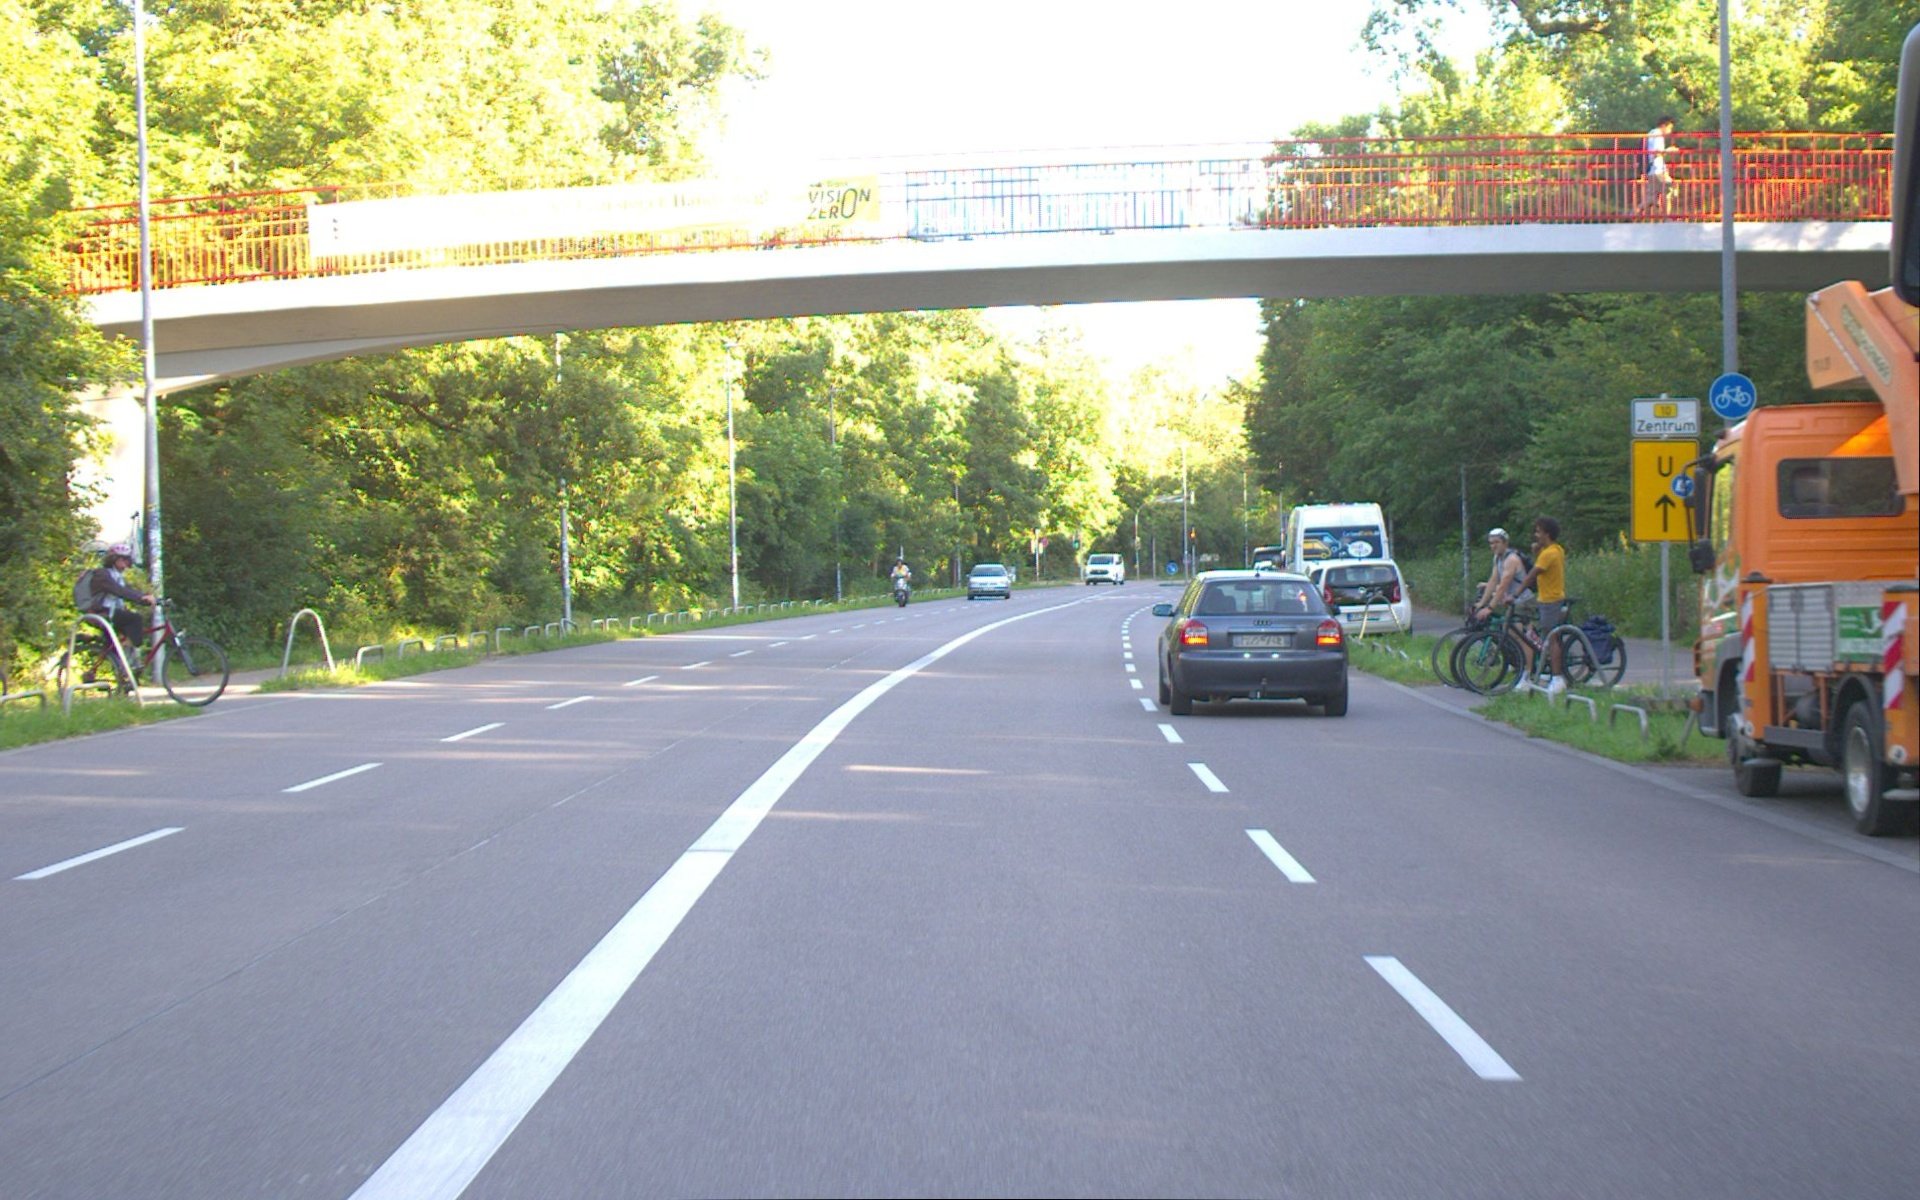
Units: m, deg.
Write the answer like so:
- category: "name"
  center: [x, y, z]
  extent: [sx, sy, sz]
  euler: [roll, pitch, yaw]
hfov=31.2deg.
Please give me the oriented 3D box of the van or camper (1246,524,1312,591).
- category: "van or camper"
  center: [9.843, -1.328, 106.113]
  extent: [1.893, 1.942, 5.133]
  euler: [-3, 1, 5]

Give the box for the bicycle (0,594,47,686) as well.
- category: "bicycle"
  center: [-10.633, 0.413, 35.937]
  extent: [1.927, 0.931, 0.824]
  euler: [0, 1, 11]

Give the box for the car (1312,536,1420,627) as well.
- category: "car"
  center: [6.890, -0.333, 58.583]
  extent: [1.723, 1.491, 3.774]
  euler: [0, 1, 5]

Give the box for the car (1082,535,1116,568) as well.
- category: "car"
  center: [8.851, -3.078, 218.308]
  extent: [1.994, 1.985, 4.997]
  euler: [1, 0, 4]

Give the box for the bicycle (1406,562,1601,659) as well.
- category: "bicycle"
  center: [6.213, 0.113, 39.393]
  extent: [2.061, 1.064, 0.870]
  euler: [-1, 1, -2]

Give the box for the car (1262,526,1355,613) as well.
- category: "car"
  center: [7.774, -0.707, 77.089]
  extent: [1.829, 1.861, 5.073]
  euler: [-1, 1, 3]

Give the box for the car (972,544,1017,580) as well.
- category: "car"
  center: [1.428, -1.577, 140.624]
  extent: [1.681, 1.402, 3.889]
  euler: [-1, 1, 3]

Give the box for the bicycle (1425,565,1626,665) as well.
- category: "bicycle"
  center: [6.284, 0.158, 38.249]
  extent: [2.061, 1.064, 0.870]
  euler: [-1, 1, -2]

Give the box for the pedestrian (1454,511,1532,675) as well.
- category: "pedestrian"
  center: [6.103, -0.087, 39.394]
  extent: [0.699, 1.846, 0.939]
  euler: [-1, 1, -2]

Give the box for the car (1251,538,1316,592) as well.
- category: "car"
  center: [8.926, -0.971, 94.959]
  extent: [1.728, 1.436, 4.100]
  euler: [0, 1, 5]

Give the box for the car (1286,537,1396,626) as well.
- category: "car"
  center: [7.006, -0.371, 63.494]
  extent: [1.723, 1.491, 4.145]
  euler: [-3, 1, 3]

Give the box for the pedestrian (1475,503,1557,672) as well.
- category: "pedestrian"
  center: [6.189, -0.143, 38.279]
  extent: [0.699, 1.846, 0.939]
  euler: [-1, 1, -2]

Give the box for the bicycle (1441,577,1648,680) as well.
- category: "bicycle"
  center: [6.327, 0.301, 37.293]
  extent: [2.061, 1.064, 0.870]
  euler: [-1, 1, -2]

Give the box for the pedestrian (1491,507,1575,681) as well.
- category: "pedestrian"
  center: [6.214, -0.072, 37.298]
  extent: [0.699, 1.846, 0.939]
  euler: [-1, 1, -2]

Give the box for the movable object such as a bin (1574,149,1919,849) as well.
- category: "movable object such as a bin"
  center: [5.809, -0.561, 19.854]
  extent: [2.758, 3.359, 7.601]
  euler: [-1, 1, -3]

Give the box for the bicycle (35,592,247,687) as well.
- category: "bicycle"
  center: [-8.386, 0.399, 35.231]
  extent: [1.927, 0.931, 0.824]
  euler: [-1, 1, 11]

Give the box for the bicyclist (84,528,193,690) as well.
- category: "bicyclist"
  center: [-8.416, 0.080, 35.231]
  extent: [0.795, 1.638, 0.841]
  euler: [0, 1, 11]

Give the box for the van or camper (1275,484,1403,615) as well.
- category: "van or camper"
  center: [7.637, -1.033, 69.759]
  extent: [2.119, 2.509, 5.980]
  euler: [-1, 1, 2]

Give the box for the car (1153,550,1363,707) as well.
- category: "car"
  center: [2.885, 0.238, 34.054]
  extent: [1.727, 1.436, 4.090]
  euler: [0, 1, 0]
